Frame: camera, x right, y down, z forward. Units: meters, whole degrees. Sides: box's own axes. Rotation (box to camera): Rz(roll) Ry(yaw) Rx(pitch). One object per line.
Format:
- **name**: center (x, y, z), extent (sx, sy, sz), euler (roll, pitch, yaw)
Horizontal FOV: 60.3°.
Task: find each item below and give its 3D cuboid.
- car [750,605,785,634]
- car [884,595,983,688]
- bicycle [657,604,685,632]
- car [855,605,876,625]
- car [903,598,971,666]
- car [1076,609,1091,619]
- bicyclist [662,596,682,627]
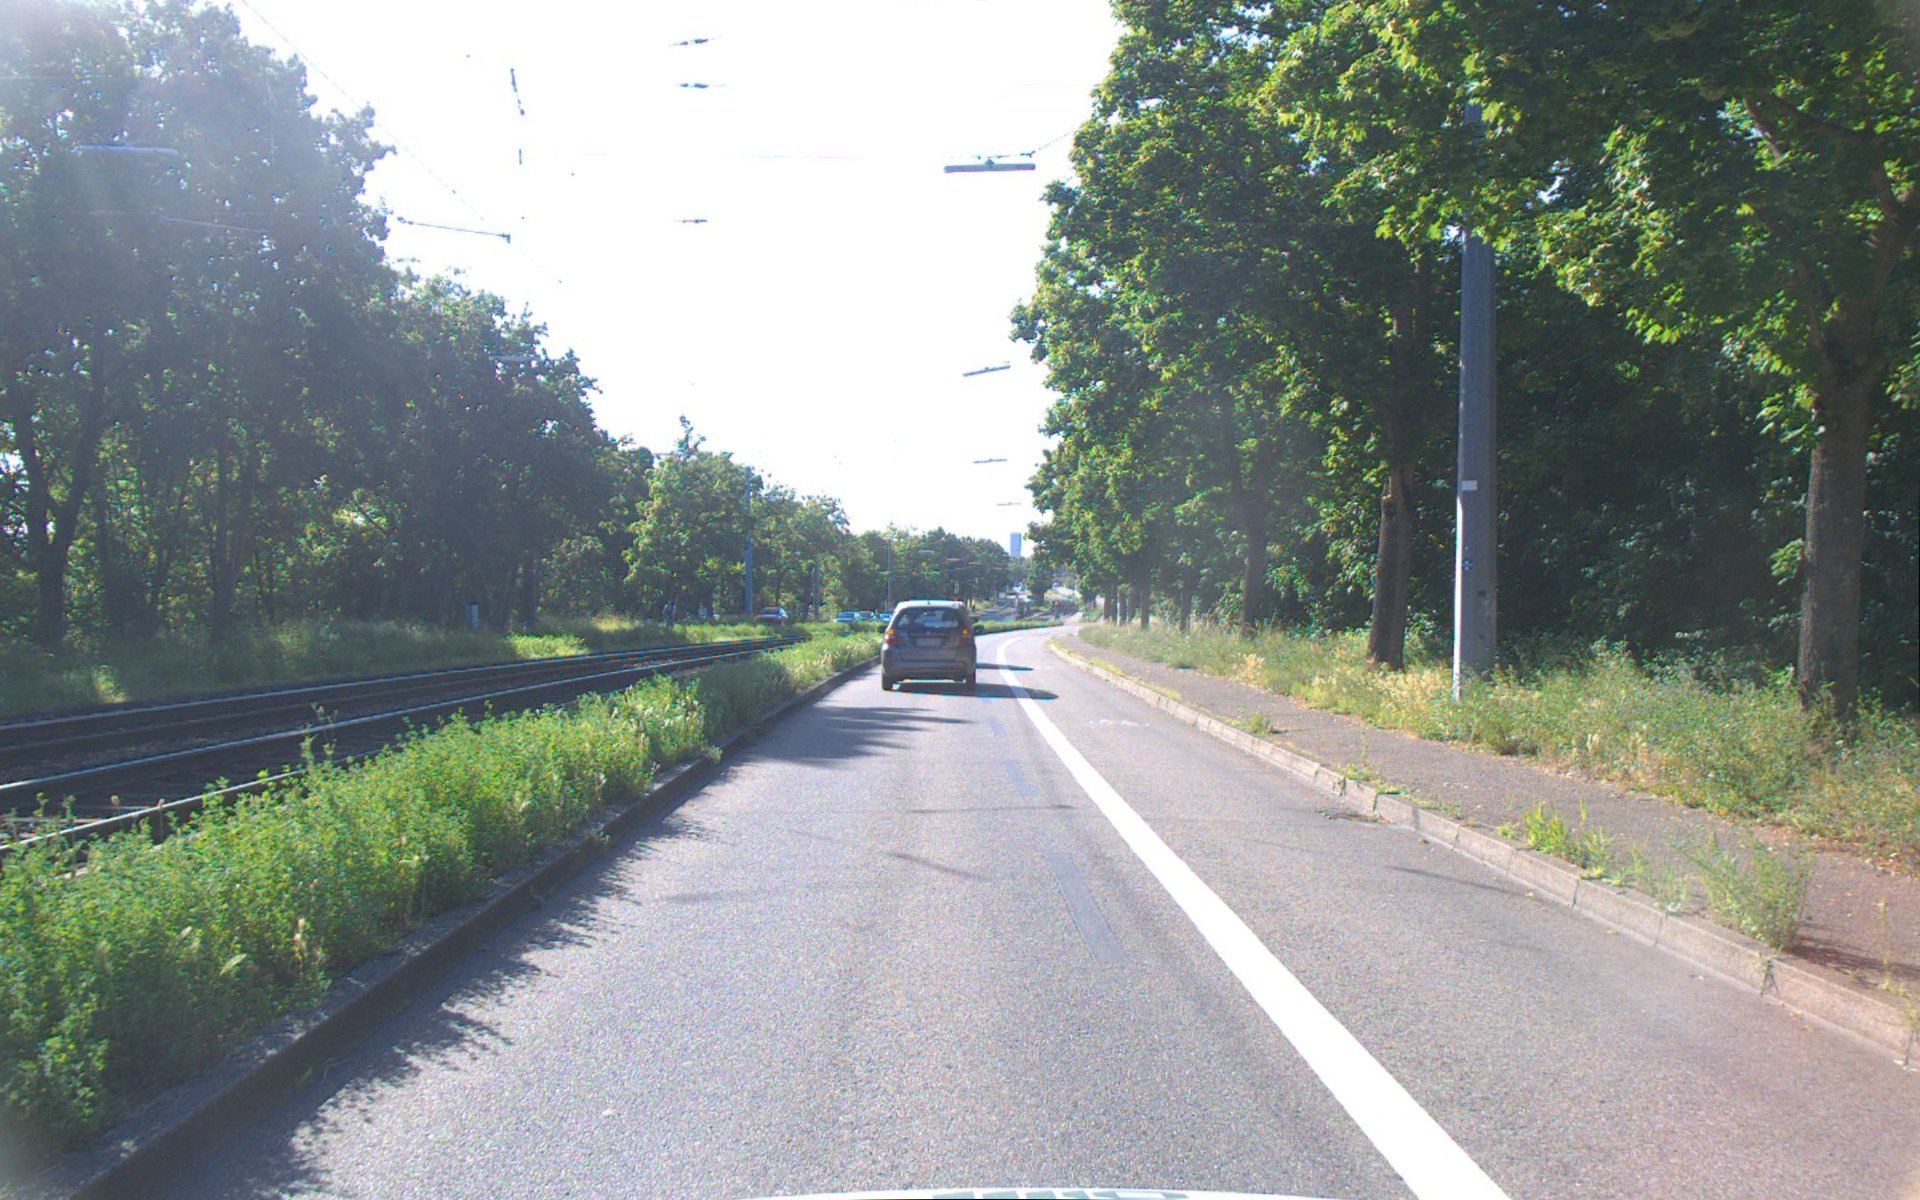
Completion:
- **car**: center (-14.096, 1.413, 121.442), extent (1.952, 1.908, 4.002), euler (2, 2, 2)
- **car**: center (-0.467, 0.694, 29.775), extent (1.636, 1.534, 3.810), euler (2, 0, -1)
- **bicycle**: center (-14.794, 0.907, 84.748), extent (0.772, 1.216, 3.170), euler (2, 2, 2)
- **car**: center (-9.269, 1.445, 162.388), extent (1.666, 1.713, 4.002), euler (2, 2, 2)
- **car**: center (-0.592, 0.783, 42.300), extent (1.621, 1.534, 3.811), euler (2, 1, -1)
- **car**: center (18.050, 2.021, 241.598), extent (1.619, 1.336, 3.815), euler (2, 2, 11)
- **bicyclist**: center (-14.782, 0.570, 84.934), extent (0.773, 1.515, 1.109), euler (2, 2, 1)
